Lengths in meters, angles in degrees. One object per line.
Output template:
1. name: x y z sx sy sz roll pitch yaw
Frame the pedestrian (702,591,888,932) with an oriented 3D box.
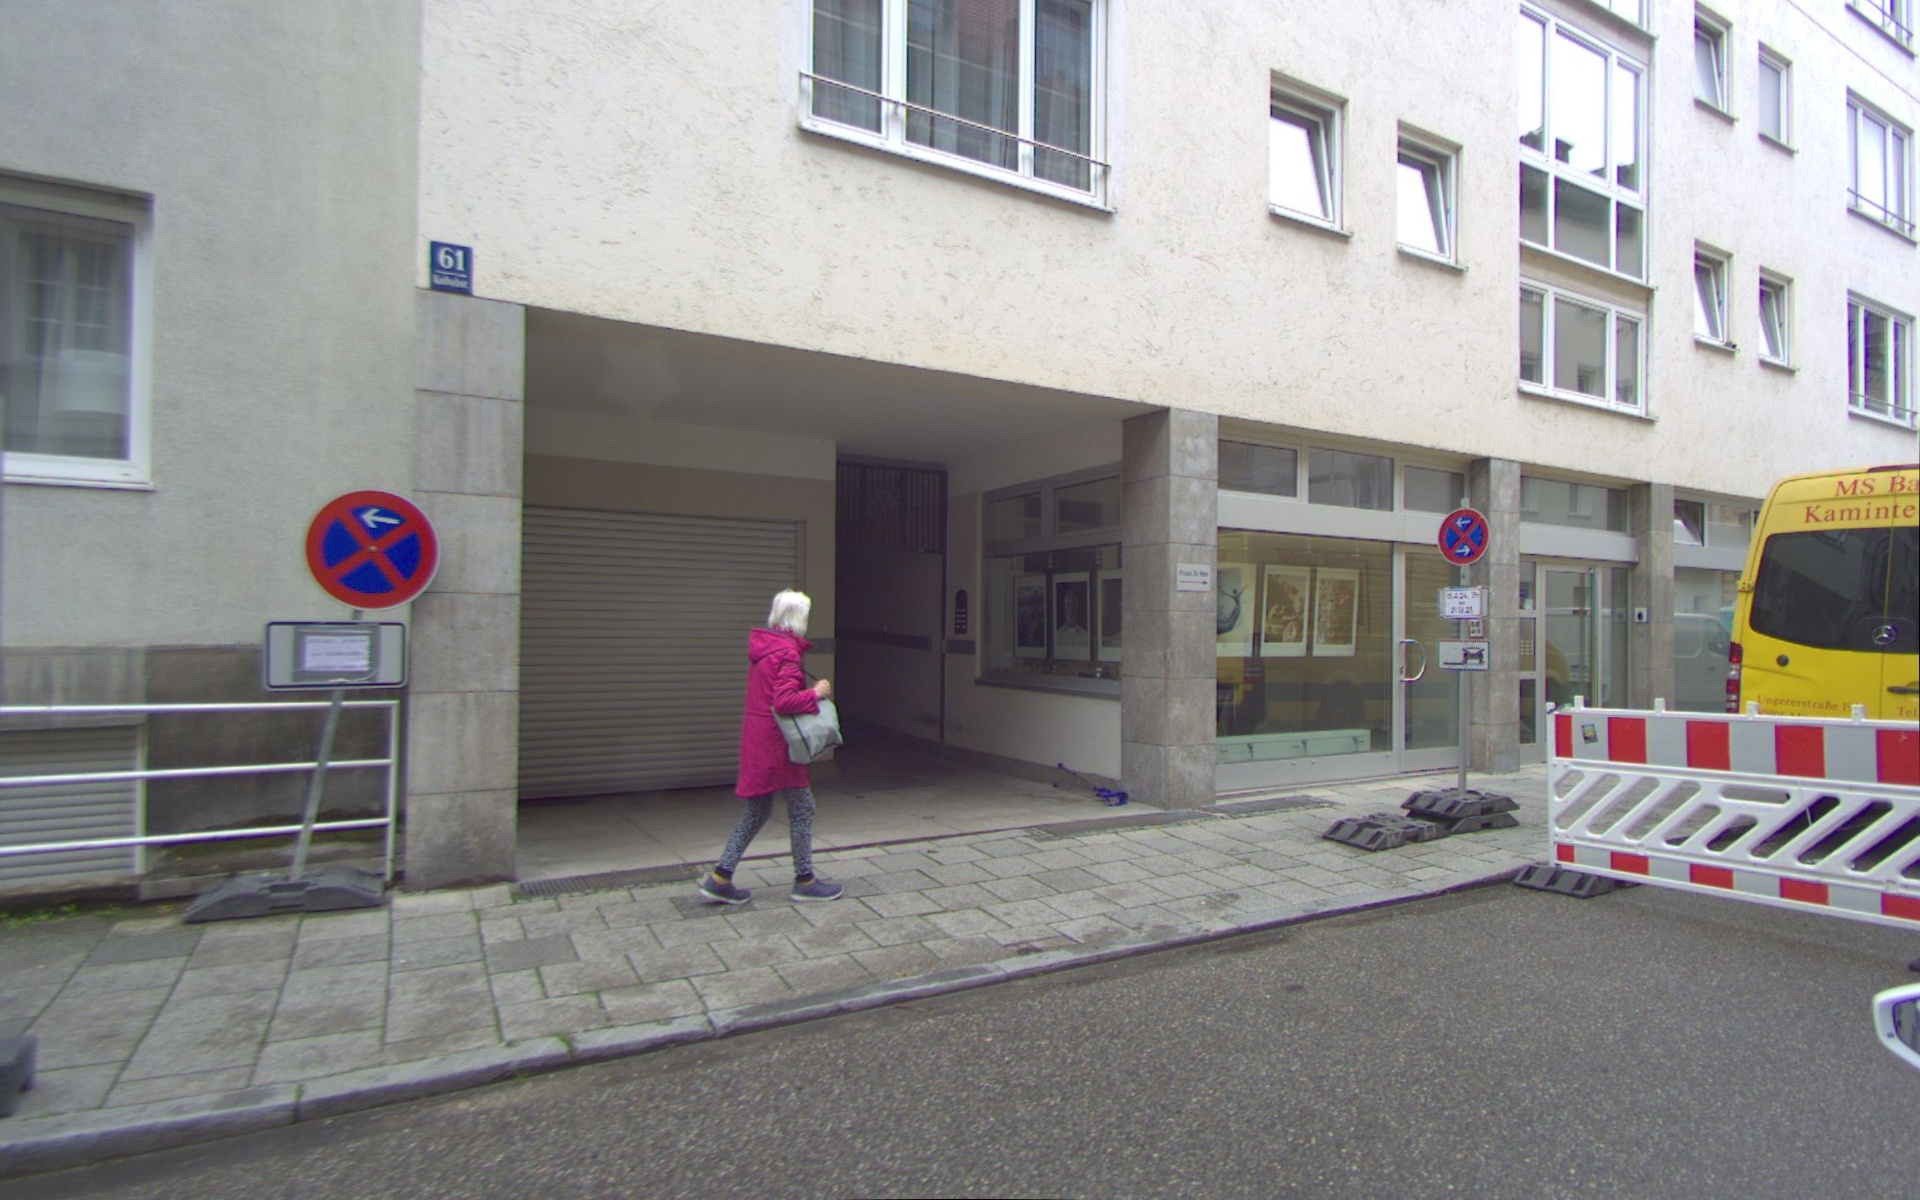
1. pedestrian: -0.838 0.742 5.034 0.737 1.552 0.635 1 0 -27

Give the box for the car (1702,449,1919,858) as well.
1. car: 8.903 0.424 8.321 6.658 2.612 1.984 2 -2 -30
